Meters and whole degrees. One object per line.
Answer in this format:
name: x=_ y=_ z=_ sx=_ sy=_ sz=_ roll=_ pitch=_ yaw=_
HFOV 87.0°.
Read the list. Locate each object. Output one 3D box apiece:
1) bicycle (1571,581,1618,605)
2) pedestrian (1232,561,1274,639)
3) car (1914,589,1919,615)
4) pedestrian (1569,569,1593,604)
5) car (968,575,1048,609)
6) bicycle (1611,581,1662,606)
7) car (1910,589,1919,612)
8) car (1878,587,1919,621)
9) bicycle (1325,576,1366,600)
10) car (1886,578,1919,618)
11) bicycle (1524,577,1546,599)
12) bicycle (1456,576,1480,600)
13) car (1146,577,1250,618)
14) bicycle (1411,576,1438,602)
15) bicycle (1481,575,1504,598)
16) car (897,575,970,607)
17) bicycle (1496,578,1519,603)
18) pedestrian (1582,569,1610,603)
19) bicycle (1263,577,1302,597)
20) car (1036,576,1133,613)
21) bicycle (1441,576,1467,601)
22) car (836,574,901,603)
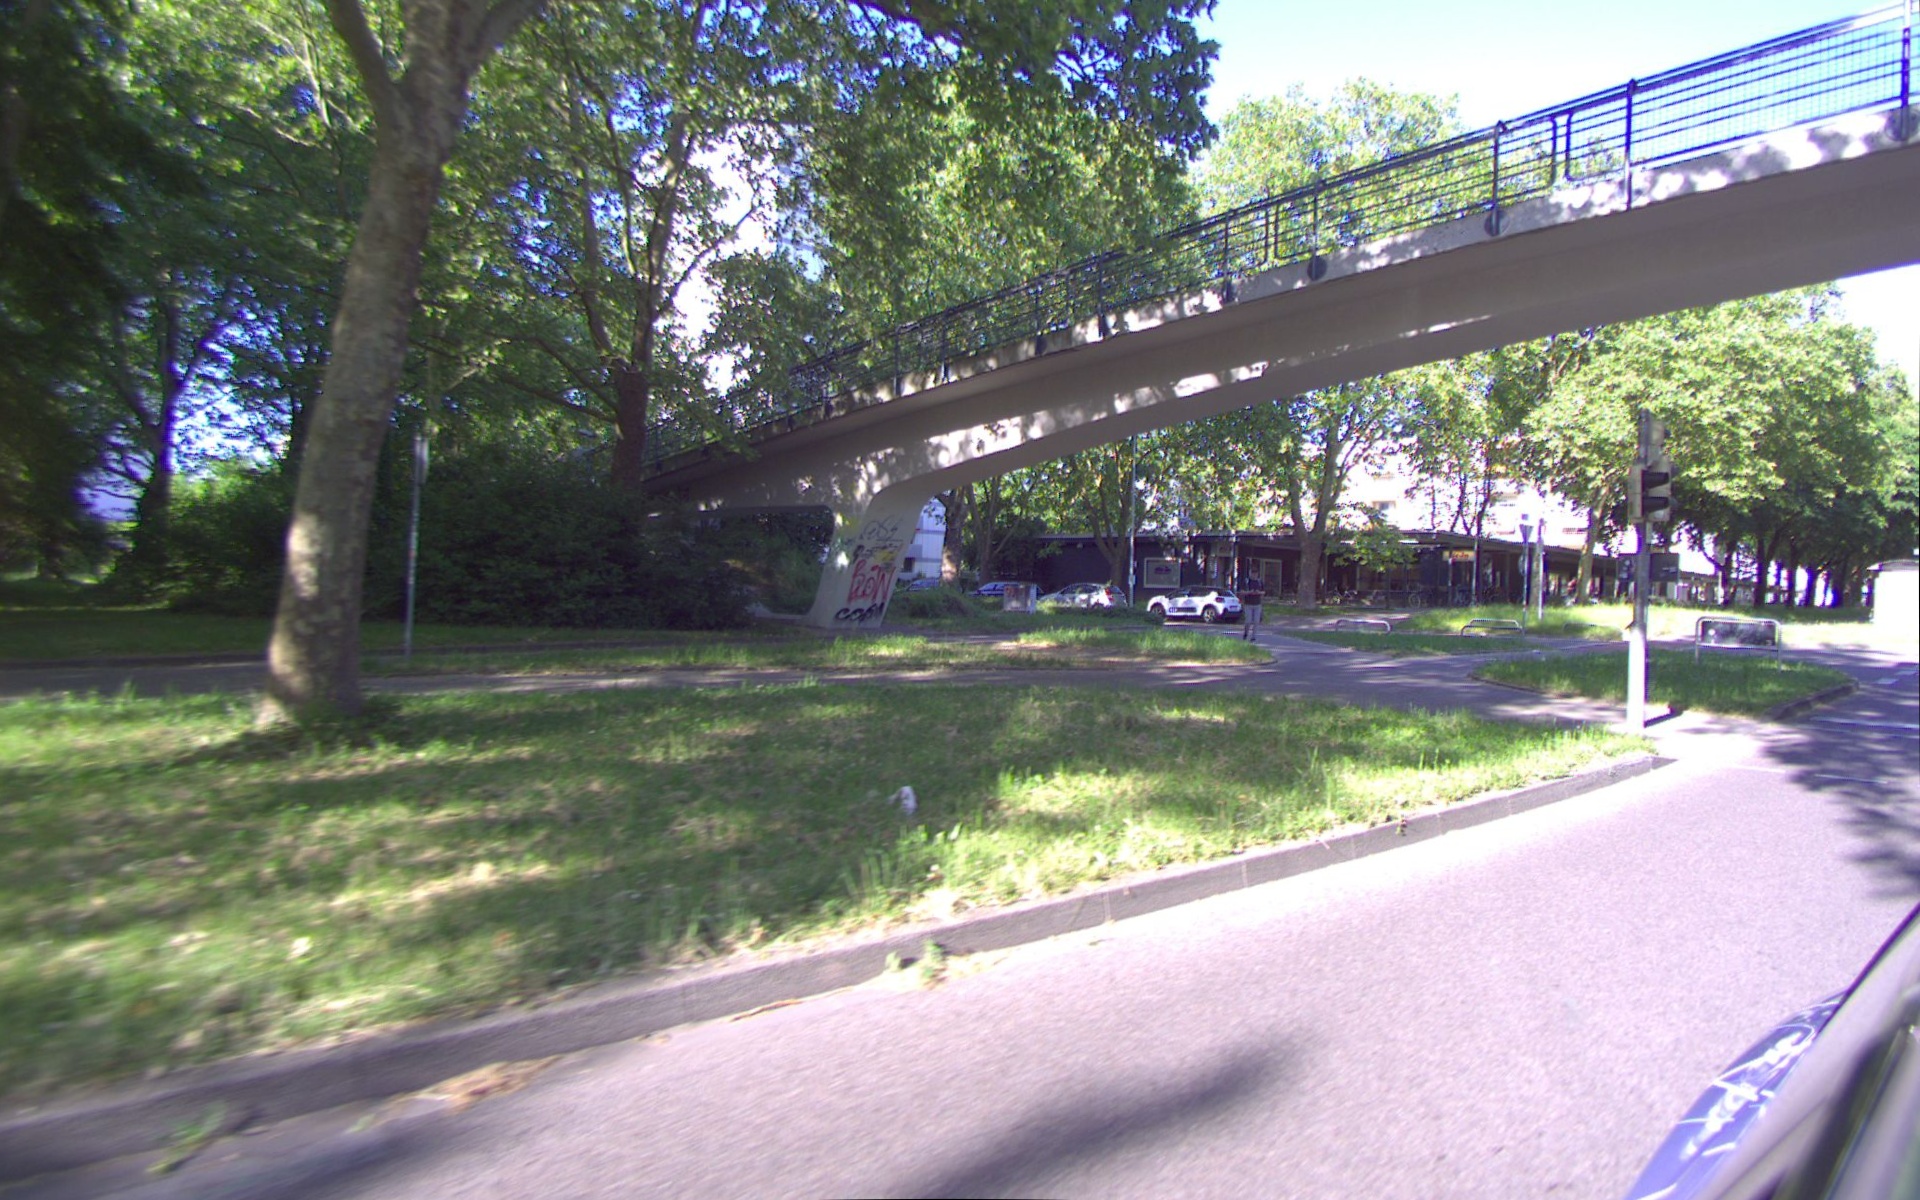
bicycle: x=33.461 y=-0.364 z=53.371 sx=0.550 sy=1.172 sz=2.077 roll=1 pitch=2 yaw=-26
pedestrian: x=6.968 y=-0.007 z=24.057 sx=0.725 sy=1.800 sz=0.660 roll=2 pitch=0 yaw=-3
car: x=65.856 y=0.181 z=66.520 sx=4.227 sy=1.696 sz=1.865 roll=1 pitch=1 yaw=5
pedestrian: x=34.362 y=-0.747 z=55.973 sx=0.963 sy=1.863 sz=0.939 roll=2 pitch=2 yaw=40
car: x=2.249 y=-0.374 z=47.876 sx=3.577 sy=1.515 sz=1.598 roll=1 pitch=-1 yaw=42
bicycle: x=34.184 y=-0.338 z=51.133 sx=2.063 sy=1.172 sz=0.554 roll=4 pitch=3 yaw=39
car: x=60.520 y=0.134 z=61.381 sx=4.011 sy=1.420 sz=1.687 roll=3 pitch=2 yaw=1
car: x=45.621 y=0.222 z=47.315 sx=3.762 sy=1.490 sz=1.517 roll=2 pitch=2 yaw=6
bicycle: x=19.454 y=-0.605 z=51.047 sx=1.800 sy=1.129 sz=0.700 roll=3 pitch=3 yaw=42
car: x=48.354 y=-0.041 z=49.688 sx=3.880 sy=1.865 sz=1.768 roll=2 pitch=2 yaw=4
bicycle: x=32.658 y=-0.689 z=57.438 sx=1.775 sy=1.269 sz=0.576 roll=-1 pitch=0 yaw=-43
bicycle: x=27.089 y=-0.626 z=53.961 sx=1.775 sy=1.269 sz=0.576 roll=-1 pitch=0 yaw=-43
car: x=9.548 y=-0.111 z=40.778 sx=1.680 sy=1.515 sz=3.732 roll=3 pitch=-1 yaw=-43
bicycle: x=22.816 y=-0.547 z=49.698 sx=1.775 sy=1.269 sz=0.576 roll=-1 pitch=0 yaw=-43
bicycle: x=30.118 y=-0.750 z=57.239 sx=1.775 sy=1.269 sz=0.576 roll=-1 pitch=0 yaw=-43
car: x=-1.372 y=-0.457 z=51.691 sx=3.577 sy=1.515 sz=1.602 roll=1 pitch=-1 yaw=43
bicycle: x=29.232 y=-0.511 z=54.021 sx=1.775 sy=1.269 sz=0.576 roll=-1 pitch=0 yaw=-43
pedestrian: x=33.325 y=-0.724 z=53.035 sx=1.126 sy=1.729 sz=0.722 roll=2 pitch=2 yaw=40
bicycle: x=17.001 y=-0.703 z=53.438 sx=1.800 sy=0.966 sz=0.700 roll=5 pitch=4 yaw=42
car: x=5.503 y=-0.239 z=44.976 sx=3.965 sy=1.515 sz=1.645 roll=1 pitch=-1 yaw=39
bicycle: x=25.641 y=-0.599 z=52.517 sx=1.775 sy=1.269 sz=0.576 roll=-1 pitch=0 yaw=-43
car: x=-5.061 y=-0.638 z=55.500 sx=3.579 sy=1.515 sz=1.559 roll=1 pitch=-1 yaw=44
